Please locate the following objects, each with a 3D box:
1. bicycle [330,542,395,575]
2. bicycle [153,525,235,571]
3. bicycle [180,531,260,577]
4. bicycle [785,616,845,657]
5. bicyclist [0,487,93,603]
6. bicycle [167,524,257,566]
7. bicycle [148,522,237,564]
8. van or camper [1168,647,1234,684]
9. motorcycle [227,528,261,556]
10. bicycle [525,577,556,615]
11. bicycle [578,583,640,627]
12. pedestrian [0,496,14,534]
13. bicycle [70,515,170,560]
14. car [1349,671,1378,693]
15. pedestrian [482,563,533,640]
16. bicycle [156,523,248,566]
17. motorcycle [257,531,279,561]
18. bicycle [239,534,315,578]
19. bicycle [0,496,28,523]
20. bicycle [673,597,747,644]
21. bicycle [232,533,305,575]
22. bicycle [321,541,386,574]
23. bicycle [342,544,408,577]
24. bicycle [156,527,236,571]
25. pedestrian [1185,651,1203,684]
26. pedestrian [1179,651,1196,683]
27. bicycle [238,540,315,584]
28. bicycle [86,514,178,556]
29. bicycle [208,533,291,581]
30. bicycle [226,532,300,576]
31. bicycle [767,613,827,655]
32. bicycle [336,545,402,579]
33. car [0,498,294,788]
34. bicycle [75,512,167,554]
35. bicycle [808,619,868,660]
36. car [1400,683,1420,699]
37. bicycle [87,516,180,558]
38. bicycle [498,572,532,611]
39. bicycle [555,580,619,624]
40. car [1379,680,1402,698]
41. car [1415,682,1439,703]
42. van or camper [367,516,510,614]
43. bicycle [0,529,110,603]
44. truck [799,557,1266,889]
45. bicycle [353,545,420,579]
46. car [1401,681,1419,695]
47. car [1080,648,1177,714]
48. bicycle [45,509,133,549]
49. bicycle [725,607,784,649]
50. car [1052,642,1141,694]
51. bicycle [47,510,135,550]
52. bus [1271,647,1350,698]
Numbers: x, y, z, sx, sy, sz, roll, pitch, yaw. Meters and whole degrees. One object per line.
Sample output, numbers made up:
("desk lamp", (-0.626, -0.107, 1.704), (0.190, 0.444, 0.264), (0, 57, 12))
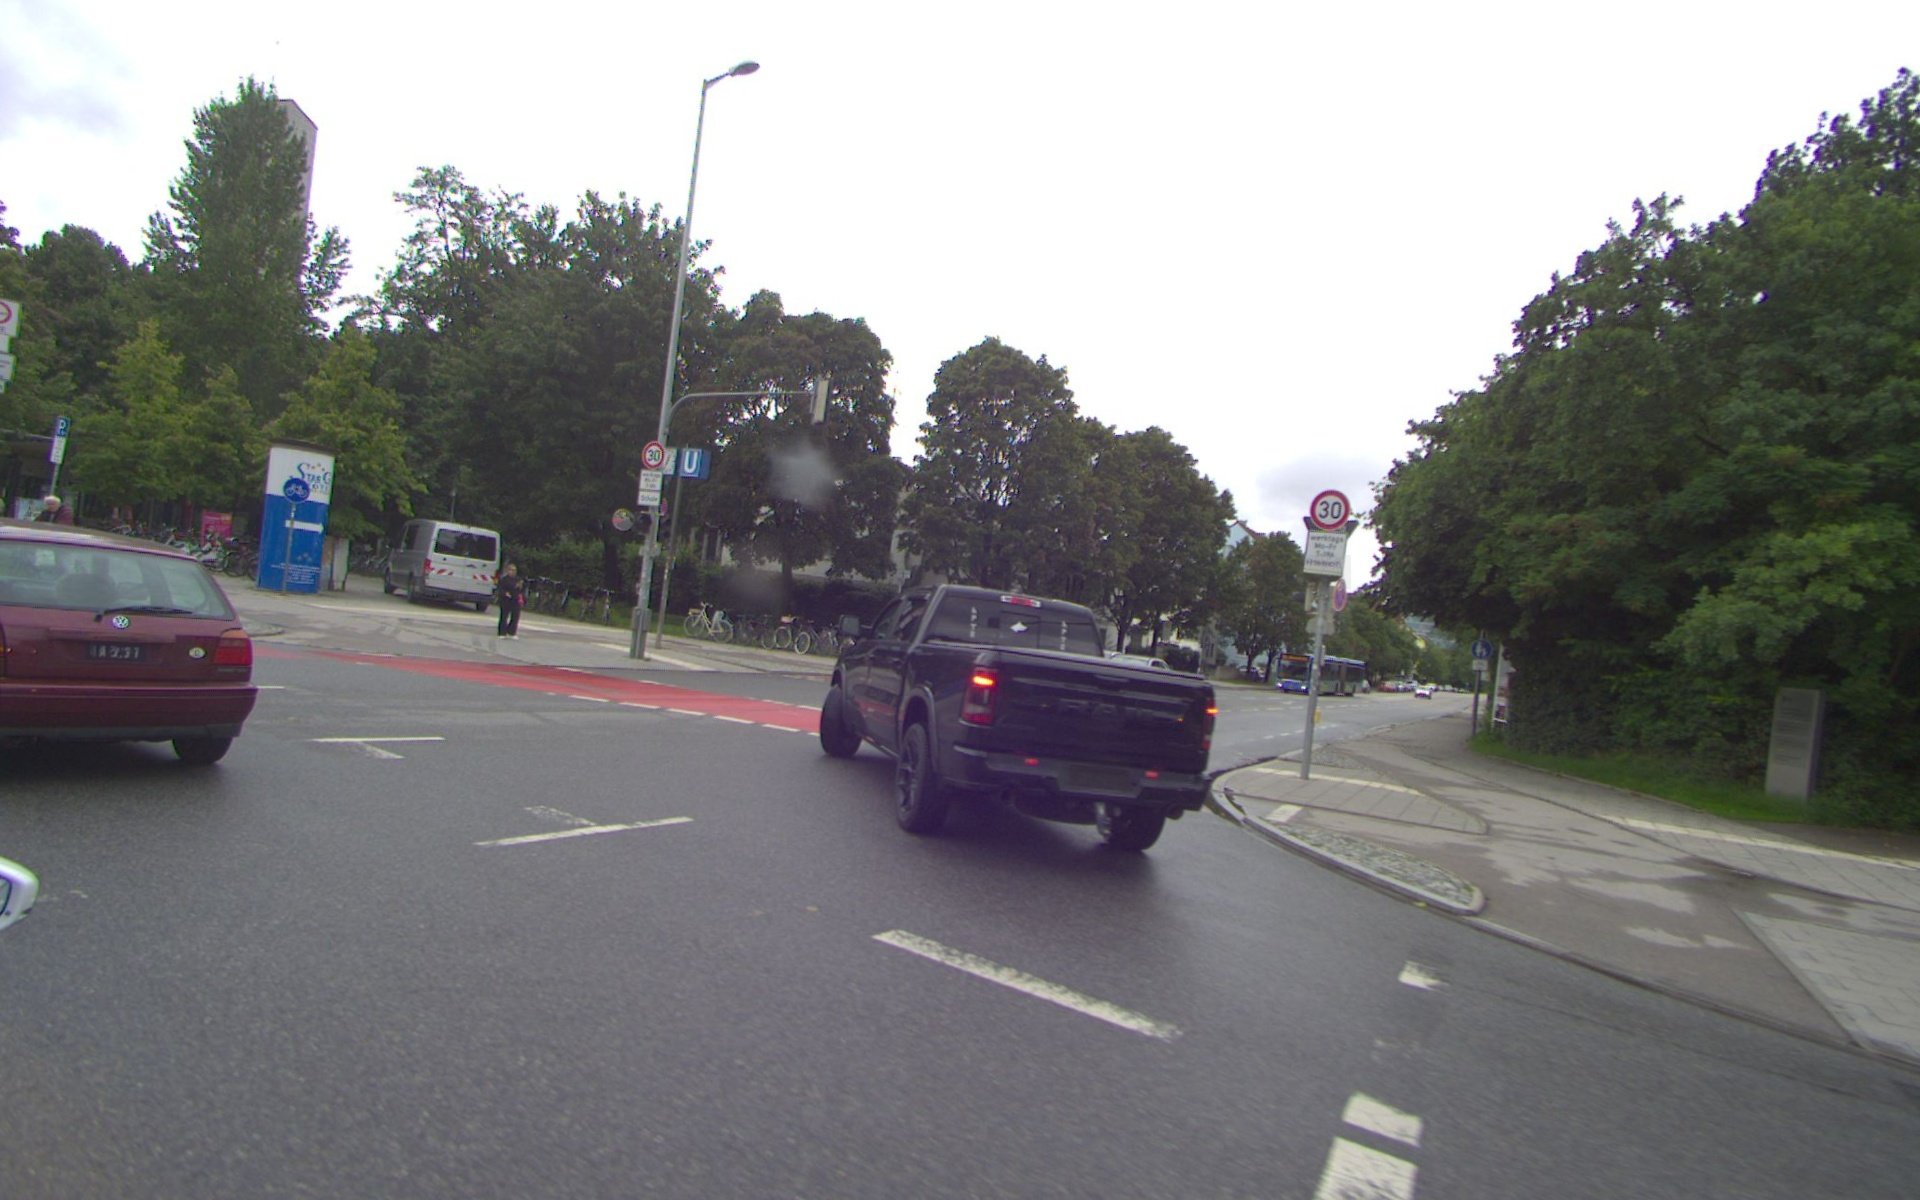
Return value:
("bicycle", (-25.338, -1.745, 42.714), (0.520, 1.172, 2.340), (7, 1, 30))
("bicycle", (-22.846, -1.530, 30.013), (0.559, 1.157, 1.804), (7, 1, 40))
("bicycle", (-21.604, -1.330, 29.413), (0.557, 1.157, 1.811), (7, 0, 20))
("bicycle", (-4.832, 1.192, 33.428), (2.083, 1.108, 0.607), (7, 0, 39))
("bicyclist", (-15.228, -0.894, 16.720), (0.733, 1.785, 0.827), (7, 0, -4))
("bicycle", (-25.365, -1.840, 34.158), (0.575, 1.172, 2.340), (7, 1, 31))
("bicycle", (-26.345, -1.943, 34.571), (0.575, 1.172, 2.340), (7, 1, 31))
("van or camper", (17.004, 4.640, 71.092), (3.933, 2.038, 1.997), (7, -1, 31))
("motorcycle", (-30.980, -2.478, 43.528), (0.649, 1.074, 1.805), (7, -1, -20))
("bicycle", (-14.150, -0.159, 33.977), (0.708, 1.167, 2.120), (7, -1, -18))
("bicycle", (-11.512, 0.155, 32.933), (2.094, 1.167, 0.697), (7, 0, 34))
("pedestrian", (-39.780, -3.544, 41.584), (0.681, 1.531, 0.580), (7, 0, 13))
("bicycle", (-26.914, -1.978, 32.288), (0.575, 1.172, 2.340), (7, 1, 31))
("car", (43.118, 8.748, 107.436), (1.967, 2.037, 3.993), (7, -1, 32))
("pedestrian", (-9.853, 0.033, 21.896), (0.687, 1.557, 0.729), (7, 0, -40))
("bicycle", (-25.095, -1.816, 33.362), (0.575, 1.172, 2.340), (7, 1, 31))
("motorcycle", (-30.141, -2.359, 43.836), (0.652, 1.191, 1.797), (7, 0, -33))
("bicycle", (-21.213, -1.344, 31.293), (0.558, 1.157, 1.805), (7, 1, 36))
("bicycle", (-53.194, -5.073, 56.391), (2.508, 1.296, 0.646), (7, 0, 31))
("bicycle", (-8.035, 0.661, 32.345), (2.074, 1.266, 0.704), (7, 0, 5))
("bicycle", (-22.408, -1.467, 32.628), (0.558, 1.157, 1.808), (7, 1, 31))
("bicycle", (-25.895, -1.814, 42.993), (0.520, 1.172, 2.340), (7, 1, 30))
("bicycle", (-24.163, -1.621, 41.629), (0.520, 1.172, 2.340), (7, 1, 30))
("bicycle", (-23.501, -1.559, 30.985), (0.558, 1.157, 1.805), (7, 1, 36))
("pedestrian", (13.952, 4.030, 59.985), (0.599, 1.849, 0.704), (7, 0, 41))
("pedestrian", (13.814, 4.049, 61.078), (0.599, 1.849, 0.704), (7, 0, 41))
("bicycle", (-19.730, -1.078, 29.083), (0.557, 1.085, 1.811), (7, 0, 20))
("bicycle", (-28.363, -2.224, 34.489), (0.520, 1.172, 2.340), (7, 1, 30))
("bicycle", (-20.853, -1.247, 29.570), (0.557, 1.227, 1.945), (7, 0, 20))
("bicycle", (-22.104, -1.445, 31.933), (0.558, 1.157, 1.808), (7, 1, 31))
("bicycle", (-5.340, 1.095, 32.831), (2.084, 1.108, 0.607), (7, 0, 41))
("bicycle", (-24.636, -1.575, 41.991), (0.520, 1.172, 2.340), (7, 1, 30))
("car", (-6.264, 0.077, 6.510), (3.883, 1.471, 1.625), (7, -1, 31))
("bicycle", (-28.881, -2.290, 34.668), (0.520, 1.172, 2.340), (7, 1, 30))
("bicycle", (-4.091, 1.309, 33.674), (2.083, 1.108, 0.607), (7, 0, 39))
("car", (66.971, 13.581, 149.763), (1.967, 2.037, 3.993), (7, -1, 32))
("bicycle", (-27.981, -2.125, 34.087), (0.520, 1.172, 2.340), (7, 1, 30))
("bicycle", (-14.899, -0.297, 33.747), (0.708, 1.167, 2.120), (7, -1, -18))
("bicycle", (-11.970, 0.063, 32.250), (2.094, 1.167, 0.717), (7, 0, 34))
("car", (56.962, 11.808, 133.030), (1.967, 2.037, 3.993), (7, -1, 32))
("car", (54.545, 10.816, 117.450), (1.967, 2.037, 3.993), (7, -1, 32))
("van or camper", (-15.340, -1.097, 29.360), (2.134, 2.324, 6.128), (8, -1, -41))
("bicycle", (-15.261, -0.547, 16.642), (0.734, 1.094, 1.947), (7, -1, -4))
("truck", (0.125, 0.817, 9.425), (2.076, 2.038, 5.789), (7, -1, -19))
("bicycle", (-23.228, -1.520, 40.827), (0.520, 1.172, 2.340), (7, 1, 30))
("car", (74.804, 14.646, 167.221), (1.967, 2.037, 3.993), (7, -1, 32))
("car", (4.686, 2.192, 27.520), (1.598, 1.471, 3.950), (7, -1, 23))
("bicycle", (-31.631, -2.552, 36.583), (0.520, 1.172, 2.340), (7, 1, 30))
("bicycle", (-6.741, 0.912, 32.887), (2.083, 1.108, 0.607), (7, 0, 39))
("car", (4.735, 2.370, 34.496), (1.599, 1.471, 3.946), (7, -1, 28))
("bicycle", (-30.989, -2.487, 35.911), (0.519, 1.172, 2.343), (7, 1, 23))
("bus", (27.527, 5.764, 78.515), (2.689, 3.321, 11.866), (7, -1, 34))
